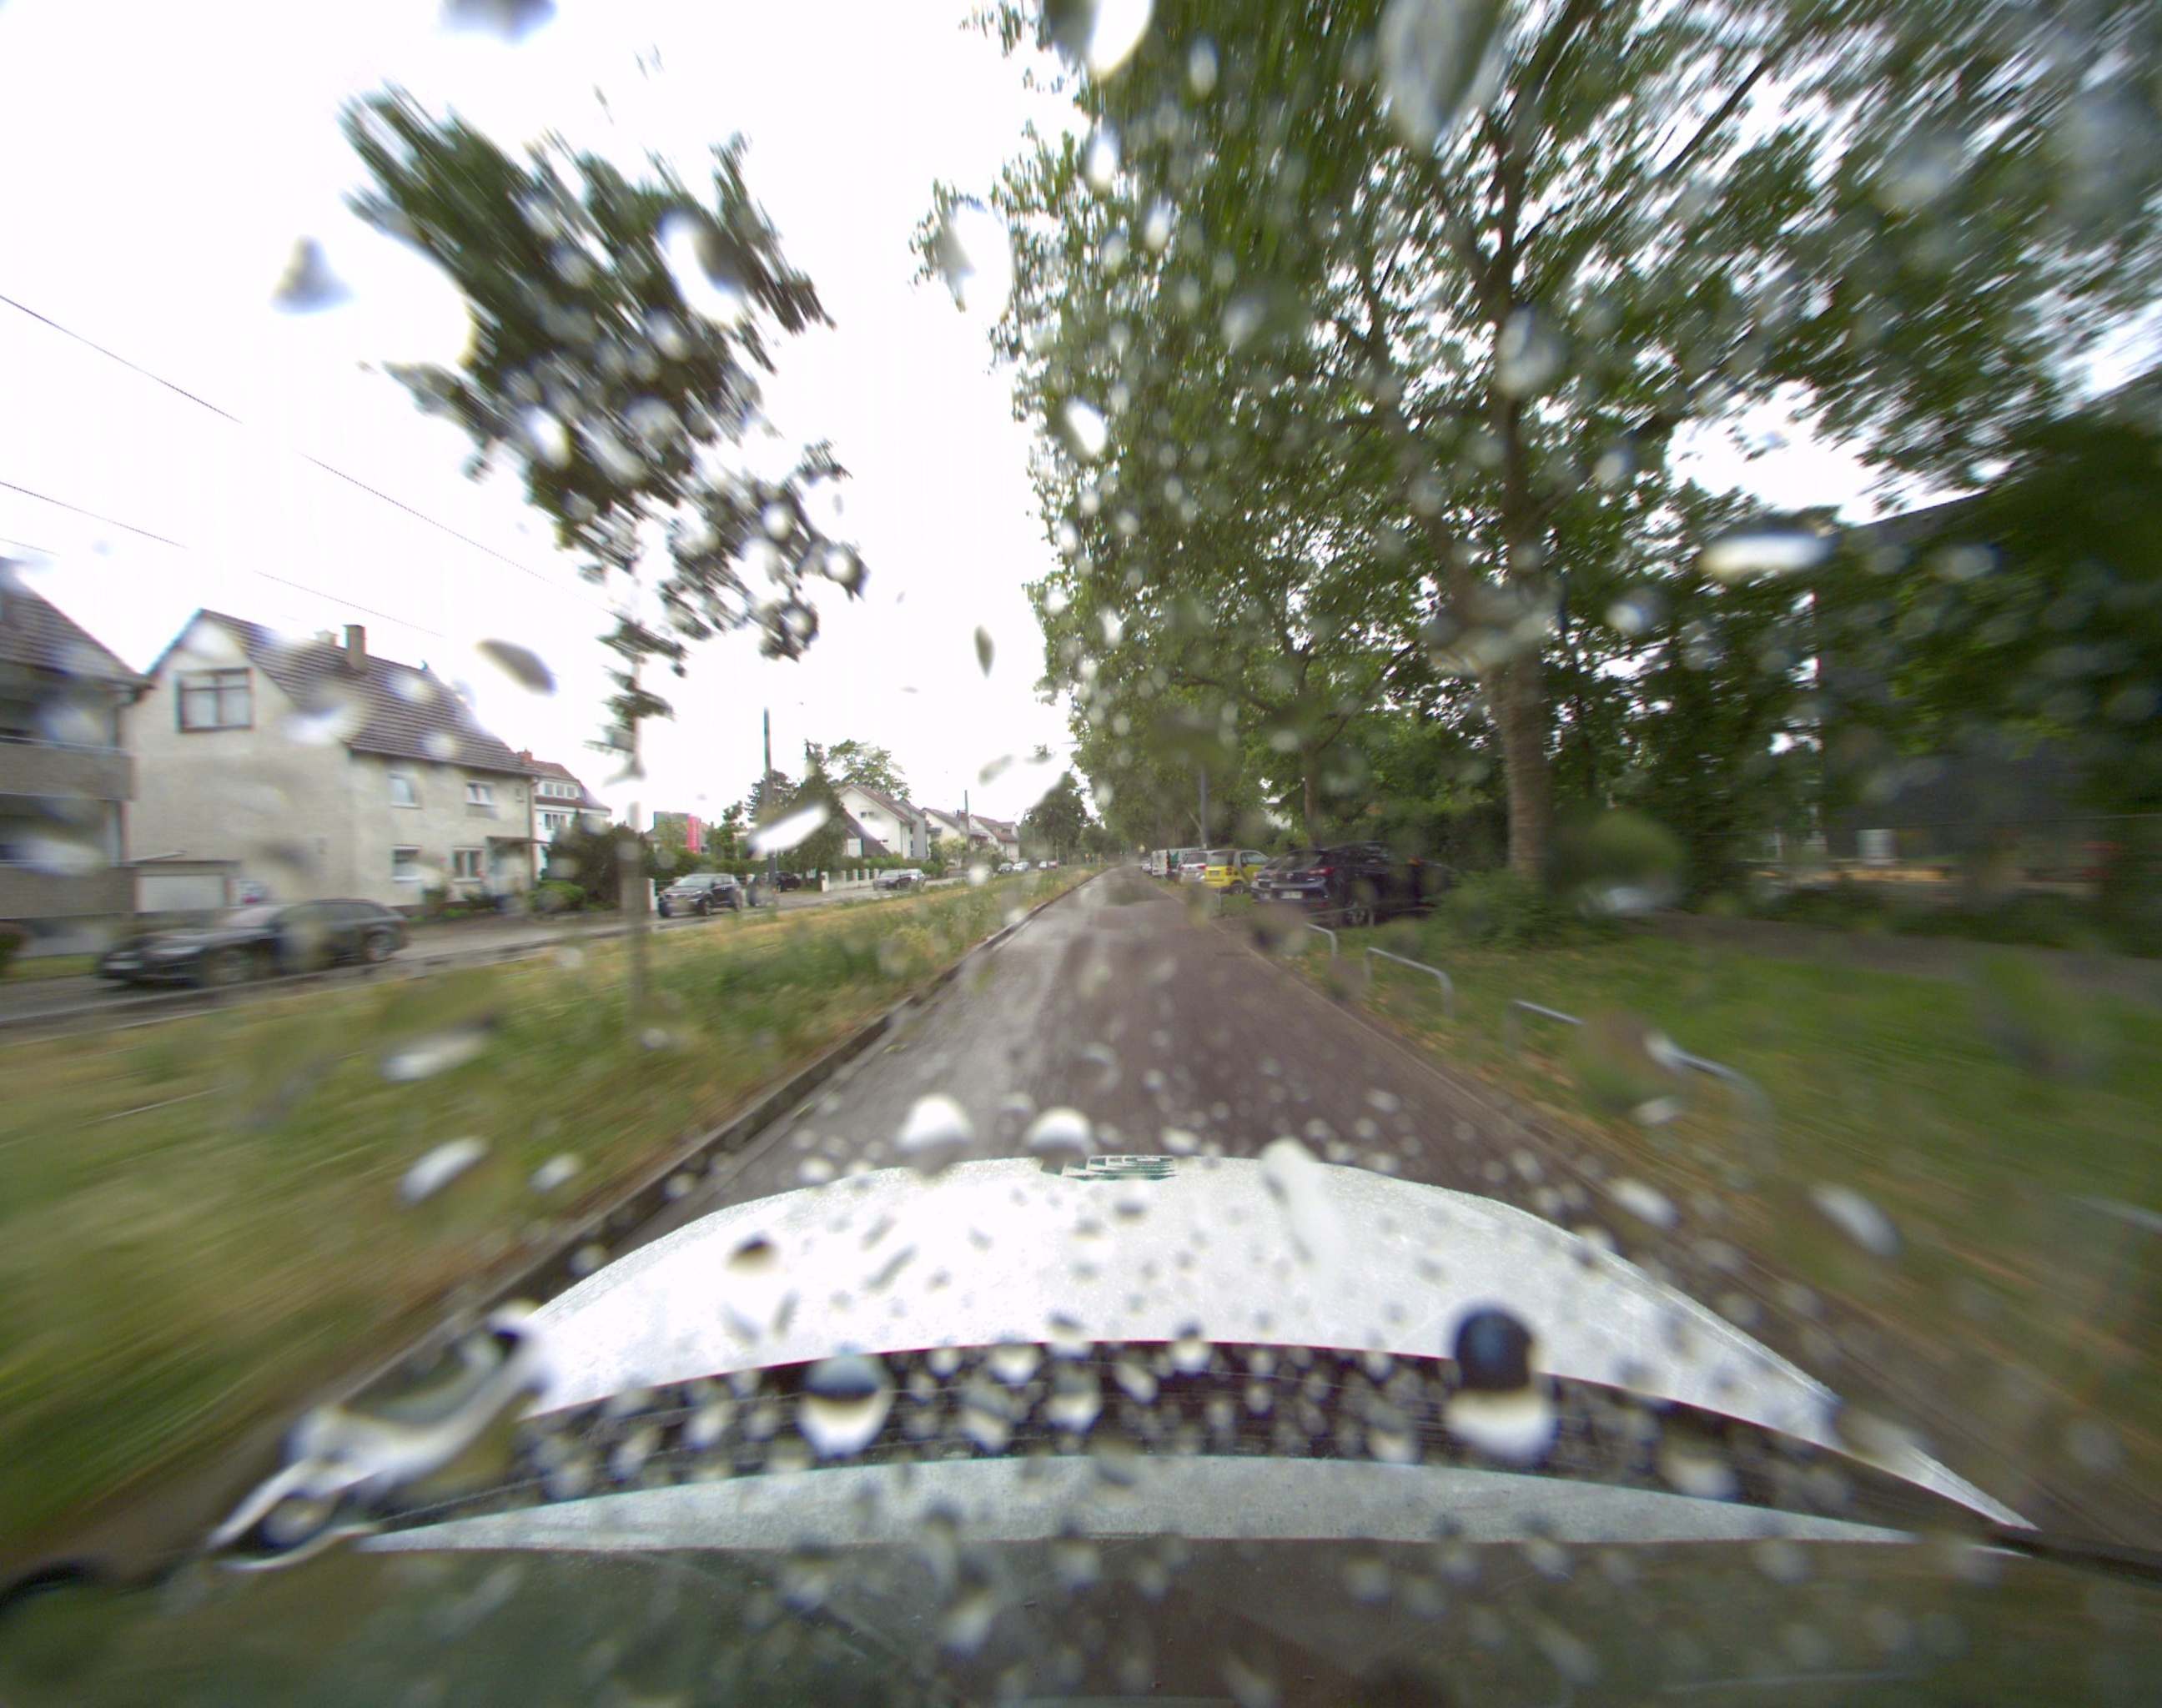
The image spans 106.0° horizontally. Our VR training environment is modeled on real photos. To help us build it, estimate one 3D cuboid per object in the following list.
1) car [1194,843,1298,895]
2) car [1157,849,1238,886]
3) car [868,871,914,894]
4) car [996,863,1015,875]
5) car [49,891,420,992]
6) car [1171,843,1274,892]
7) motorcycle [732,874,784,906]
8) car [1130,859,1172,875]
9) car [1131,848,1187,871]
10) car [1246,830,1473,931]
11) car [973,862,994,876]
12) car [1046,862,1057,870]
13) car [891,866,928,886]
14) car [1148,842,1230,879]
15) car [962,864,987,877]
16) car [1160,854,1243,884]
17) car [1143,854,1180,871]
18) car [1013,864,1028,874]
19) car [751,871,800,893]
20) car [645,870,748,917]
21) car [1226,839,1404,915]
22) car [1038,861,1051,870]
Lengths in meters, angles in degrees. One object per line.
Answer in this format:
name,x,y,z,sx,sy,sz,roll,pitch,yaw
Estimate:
car,5.430,0.496,26.754,2.911,1.466,1.589,-4,-1,-27
car,5.597,0.640,38.905,3.420,1.518,1.830,-4,-1,-35
car,-13.768,2.061,59.356,1.984,1.455,4.536,-1,0,4
car,-10.764,2.098,115.938,1.984,1.516,4.210,-1,0,4
car,-15.844,1.548,15.744,1.984,1.411,4.767,-1,0,4
car,5.762,0.531,32.917,4.066,1.641,1.636,-4,-1,-36
motorcycle,-15.117,1.677,38.102,2.654,1.411,1.274,-2,-2,44
car,8.404,1.549,97.246,4.794,1.668,1.974,-3,0,-34
car,6.900,0.474,72.052,4.575,1.544,1.869,-5,1,-30
car,5.291,0.451,15.491,3.812,1.532,1.867,-4,0,-26
car,-11.759,1.803,98.578,1.866,1.550,3.873,-1,0,3
car,-6.184,2.541,171.880,1.984,1.488,4.210,-1,0,4
car,-13.648,1.730,64.975,1.986,1.411,3.974,-1,0,2
car,6.965,0.415,52.429,5.049,2.013,1.979,-4,1,-33
car,-12.126,1.917,93.319,1.984,1.350,4.245,-1,0,4
car,6.333,0.751,42.452,4.326,1.384,1.721,-2,-1,-37
car,8.986,0.942,90.761,3.726,1.566,1.603,-3,0,-30
car,-9.519,2.338,127.569,1.788,1.488,3.601,-1,0,4
car,-22.171,2.013,59.255,1.985,1.455,3.921,-1,0,2
car,-15.334,1.534,32.783,1.987,1.674,4.388,-2,-1,1
car,5.521,0.515,19.065,4.080,1.418,1.724,-4,-1,-34
car,-7.016,2.274,158.146,1.984,1.581,4.522,-1,0,4
